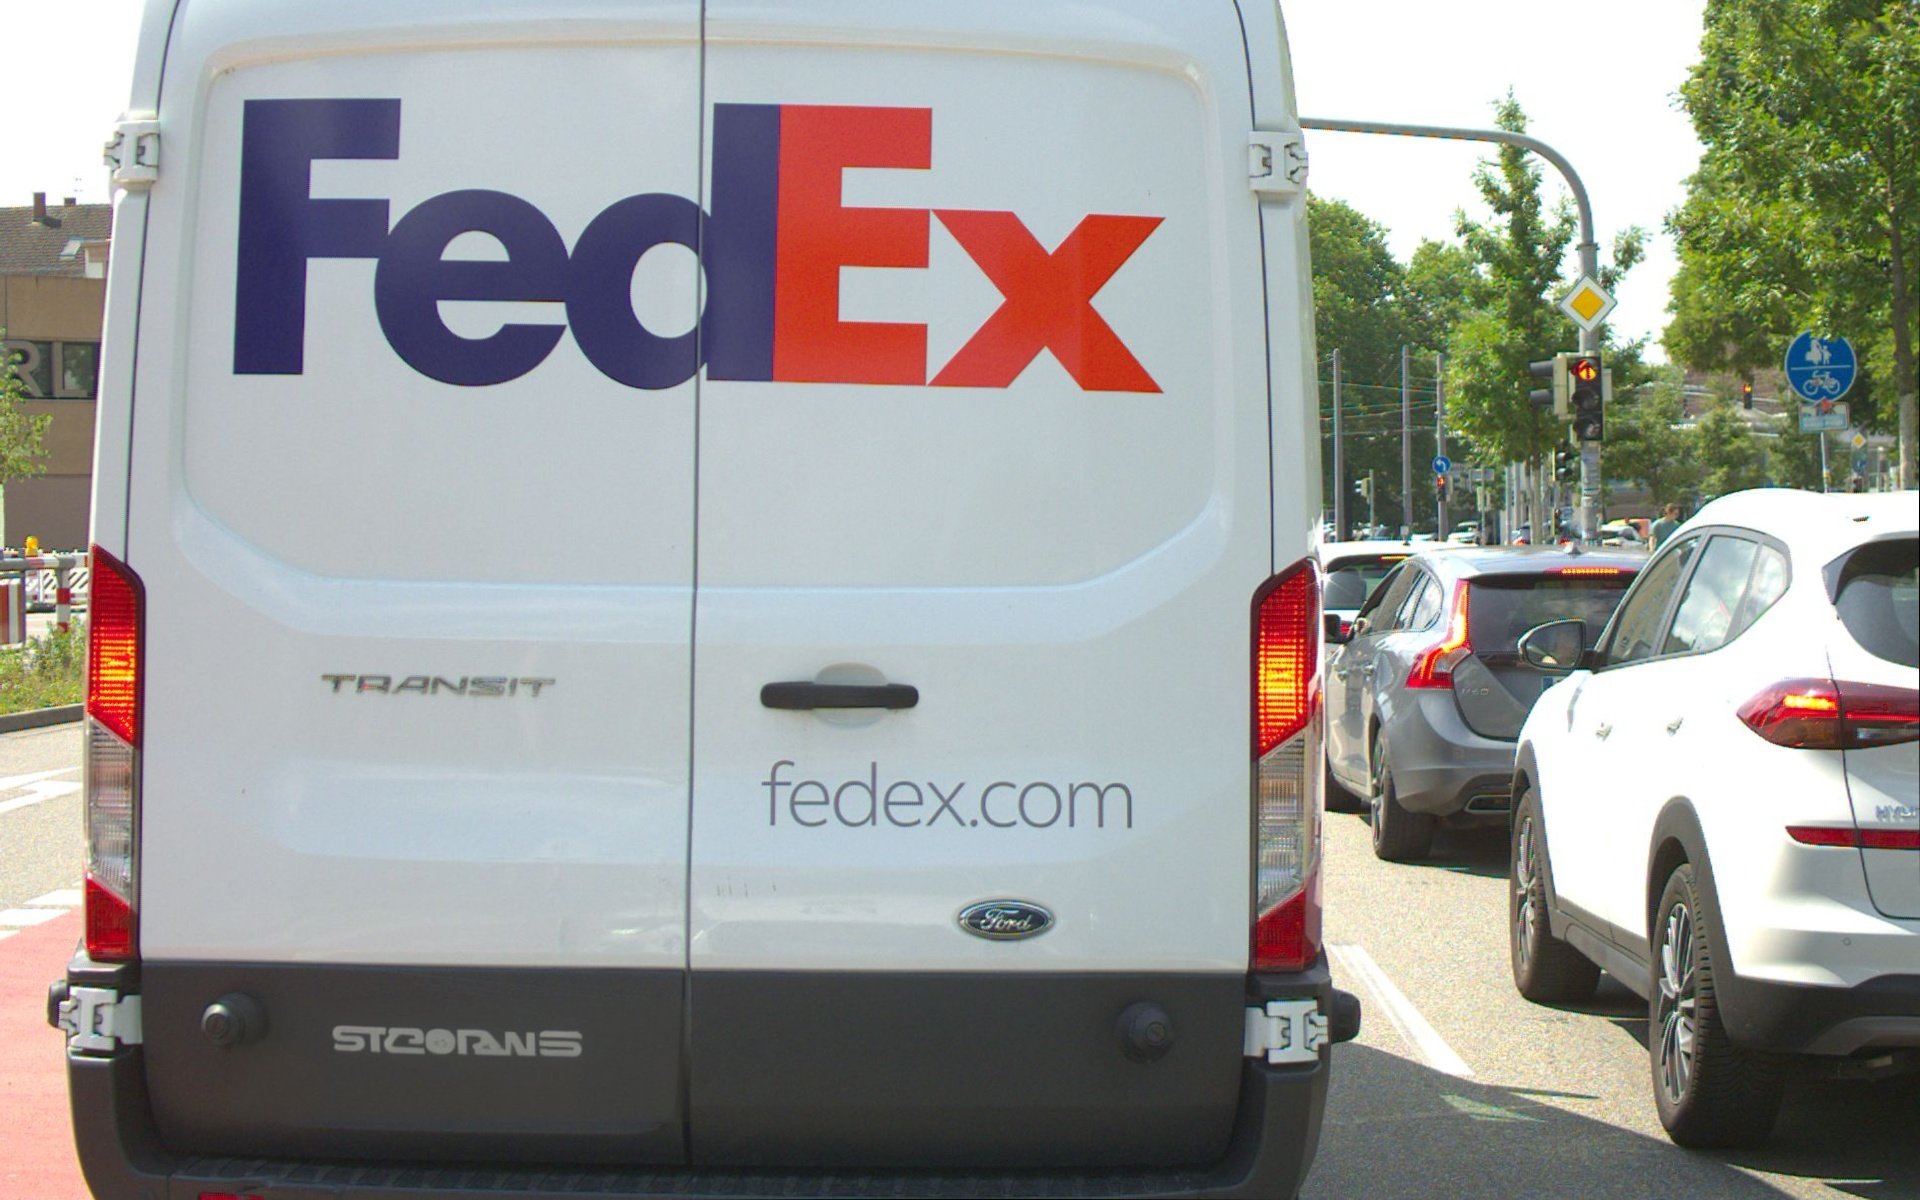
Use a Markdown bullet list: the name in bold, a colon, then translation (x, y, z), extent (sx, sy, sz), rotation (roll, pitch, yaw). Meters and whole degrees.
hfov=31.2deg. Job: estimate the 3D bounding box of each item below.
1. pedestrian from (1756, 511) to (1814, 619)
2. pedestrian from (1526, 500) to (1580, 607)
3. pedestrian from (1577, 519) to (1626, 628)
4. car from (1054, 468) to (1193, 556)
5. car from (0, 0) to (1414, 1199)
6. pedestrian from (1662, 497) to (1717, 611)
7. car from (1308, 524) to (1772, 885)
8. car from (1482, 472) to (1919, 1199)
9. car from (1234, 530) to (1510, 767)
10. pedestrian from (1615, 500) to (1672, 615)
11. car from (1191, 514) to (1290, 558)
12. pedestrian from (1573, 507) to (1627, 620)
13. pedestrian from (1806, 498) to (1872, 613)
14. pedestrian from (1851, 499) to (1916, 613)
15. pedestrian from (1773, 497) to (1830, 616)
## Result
- **pedestrian**: translation (14.227, -0.616, 59.289), extent (0.758, 1.843, 0.816), rotation (-1, 1, -3)
- **pedestrian**: translation (10.328, -0.808, 59.886), extent (0.813, 1.843, 0.761), rotation (-1, 1, 3)
- **pedestrian**: translation (11.014, -0.457, 59.041), extent (0.759, 1.843, 0.816), rotation (0, 1, 15)
- **car**: translation (5.343, -2.807, 111.221), extent (2.490, 2.708, 7.077), rotation (1, 1, 20)
- **car**: translation (-0.349, 0.073, 7.190), extent (2.072, 2.572, 4.428), rotation (0, 1, 1)
- **pedestrian**: translation (11.956, -0.758, 56.338), extent (0.759, 1.843, 0.816), rotation (-1, 1, 3)
- **car**: translation (2.708, 0.414, 16.807), extent (1.691, 1.543, 3.720), rotation (0, 1, 1)
- **car**: translation (2.627, 0.501, 9.505), extent (1.814, 1.673, 3.974), rotation (0, 1, 1)
- **car**: translation (2.730, 0.271, 23.363), extent (1.499, 1.459, 3.474), rotation (0, 1, 1)
- **pedestrian**: translation (11.067, -0.690, 55.711), extent (0.759, 1.843, 0.816), rotation (-1, 1, 1)
- **car**: translation (12.500, -2.859, 153.240), extent (4.339, 1.865, 1.925), rotation (1, 0, 5)
- **pedestrian**: translation (10.557, -0.604, 56.682), extent (0.759, 1.843, 0.815), rotation (0, 1, 18)
- **pedestrian**: translation (14.317, -0.731, 55.995), extent (0.758, 1.843, 0.816), rotation (-1, 1, -10)
- **pedestrian**: translation (15.144, -0.726, 56.403), extent (0.758, 1.843, 0.816), rotation (-1, 1, -8)
- **pedestrian**: translation (12.703, -0.658, 51.912), extent (0.759, 1.783, 0.816), rotation (0, 1, 8)
